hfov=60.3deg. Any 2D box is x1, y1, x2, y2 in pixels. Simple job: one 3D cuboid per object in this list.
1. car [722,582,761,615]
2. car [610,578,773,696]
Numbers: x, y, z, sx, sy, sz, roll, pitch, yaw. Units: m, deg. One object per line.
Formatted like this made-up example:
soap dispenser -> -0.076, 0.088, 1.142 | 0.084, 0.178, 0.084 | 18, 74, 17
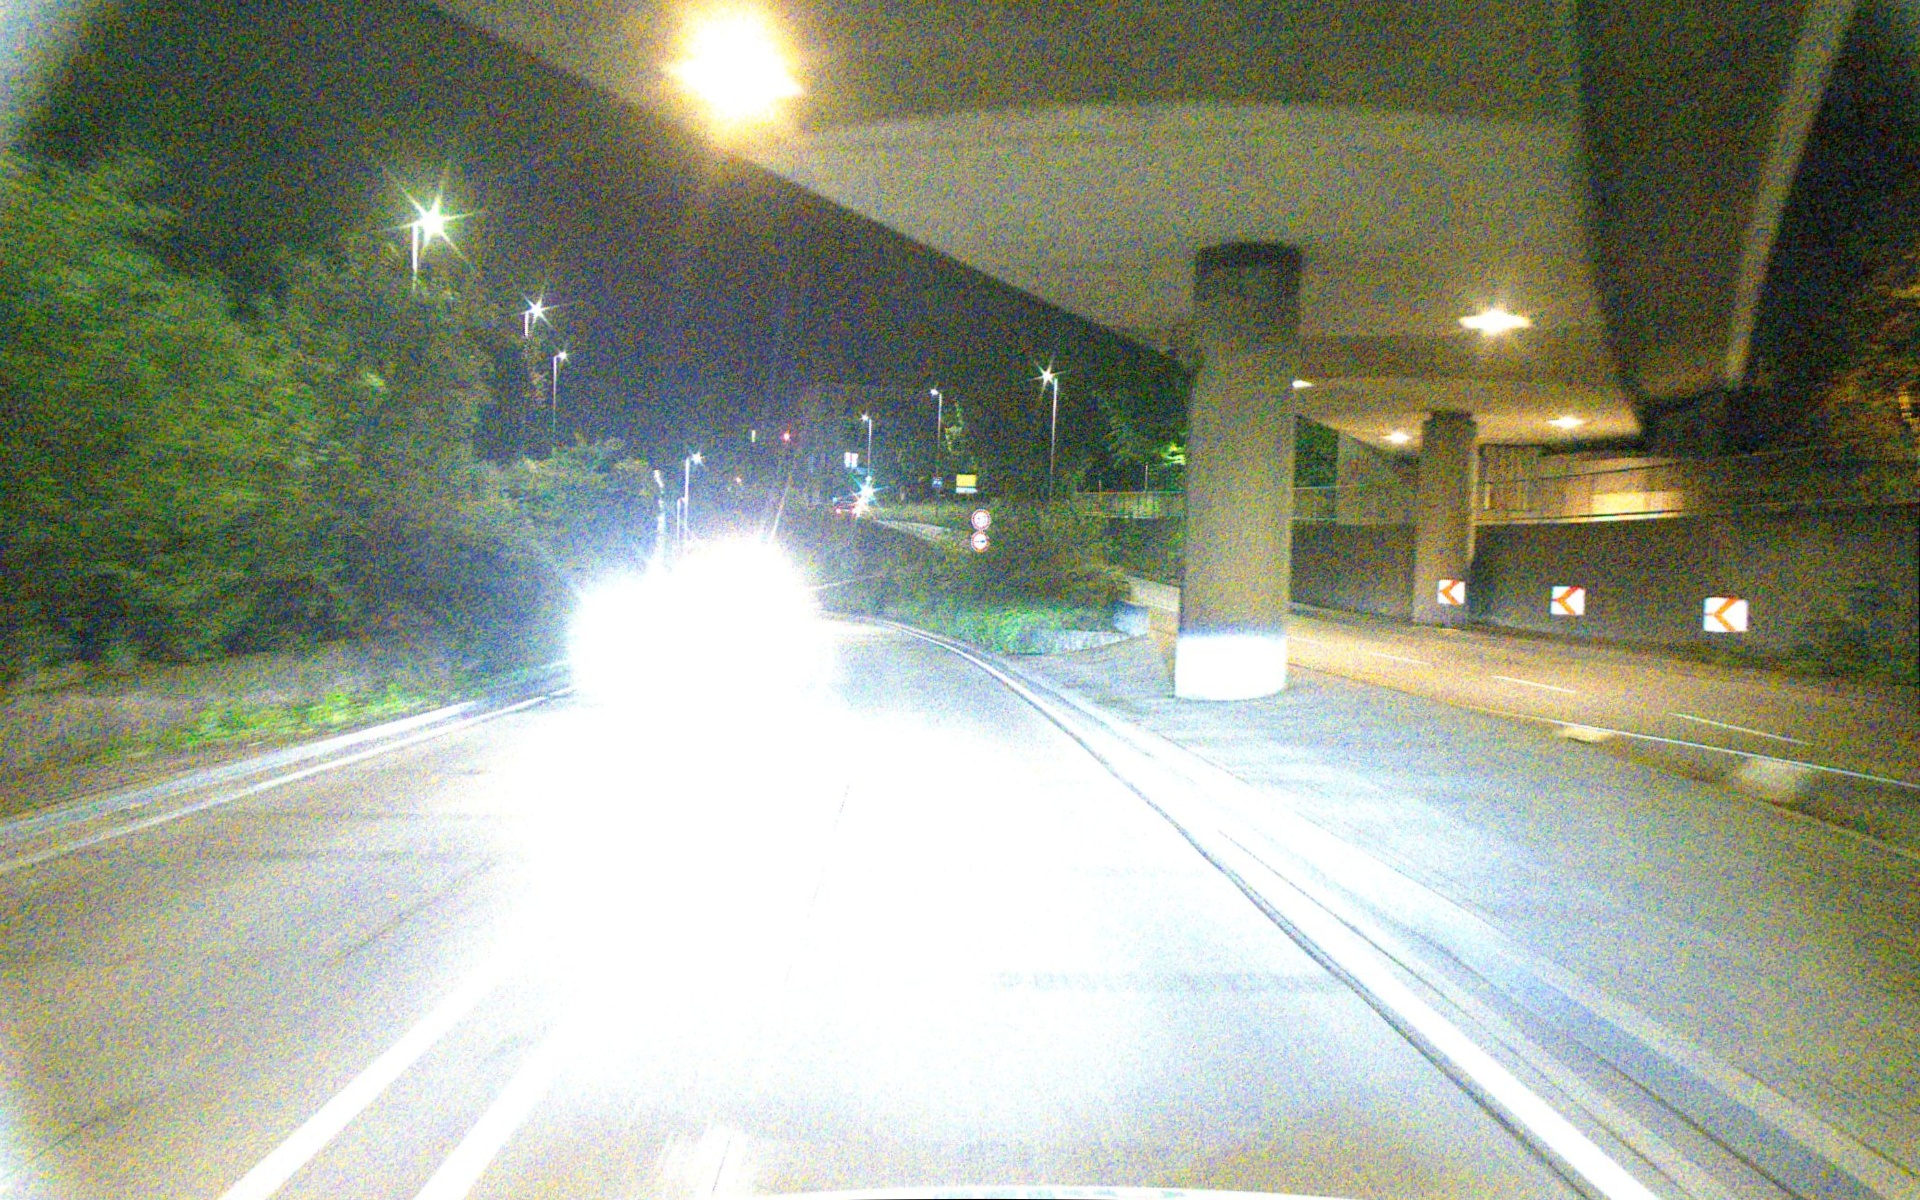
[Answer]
car -> -10.535, -0.085, 79.945 | 1.823, 1.536, 3.994 | 0, 0, -7
car -> -3.725, 0.497, 23.612 | 1.752, 1.473, 4.170 | 2, -1, -2
